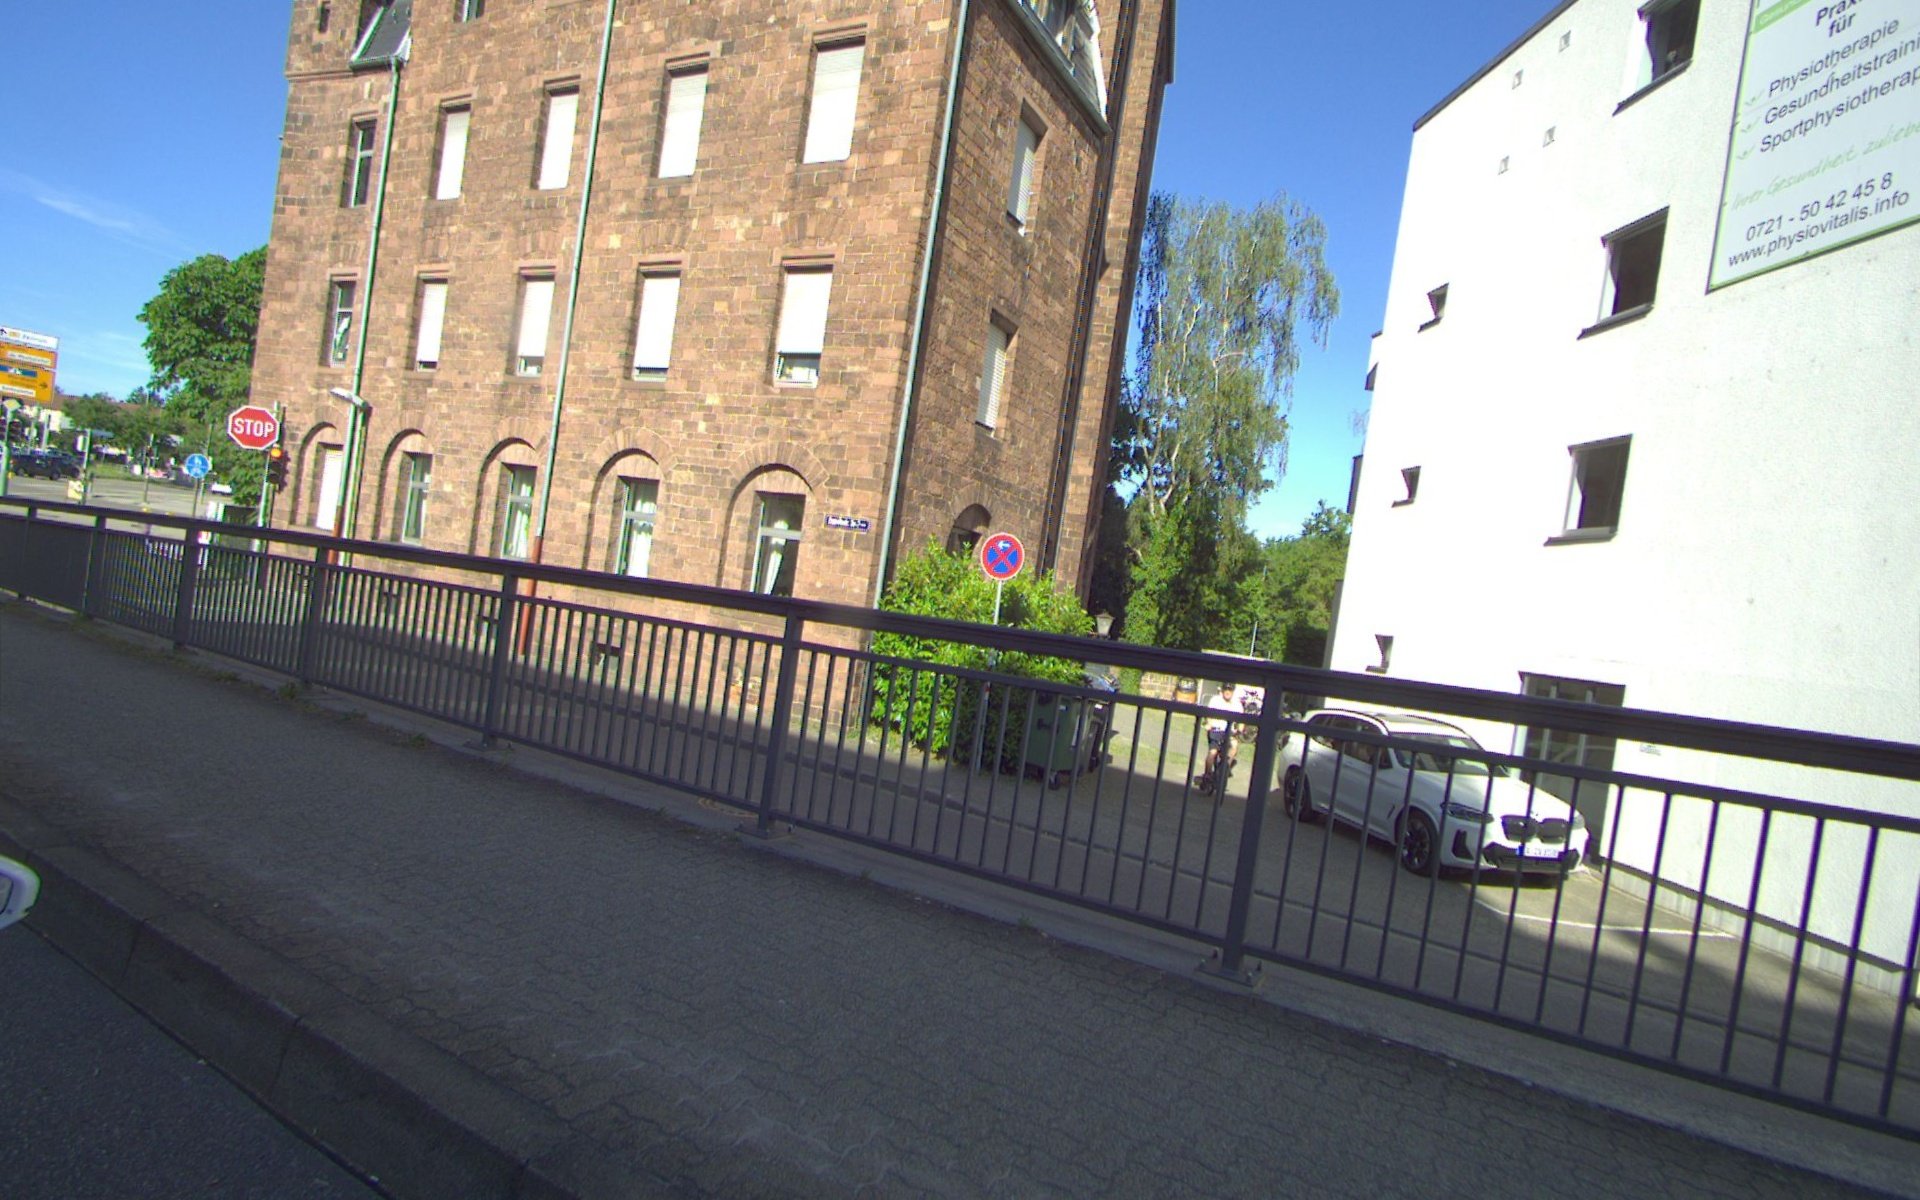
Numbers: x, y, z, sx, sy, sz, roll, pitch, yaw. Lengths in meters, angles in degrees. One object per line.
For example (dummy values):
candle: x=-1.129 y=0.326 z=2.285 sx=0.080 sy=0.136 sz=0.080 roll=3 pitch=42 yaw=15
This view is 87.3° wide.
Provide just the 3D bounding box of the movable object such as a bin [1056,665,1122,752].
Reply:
movable object such as a bin: x=2.638 y=2.182 z=20.463 sx=1.009 sy=1.539 sz=1.007 roll=9 pitch=0 yaw=14

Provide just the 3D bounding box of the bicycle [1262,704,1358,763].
bicycle: x=8.121 y=3.093 z=23.370 sx=1.889 sy=1.065 sz=0.664 roll=8 pitch=1 yaw=-6

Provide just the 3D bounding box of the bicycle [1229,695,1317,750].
bicycle: x=7.861 y=3.082 z=25.285 sx=1.889 sy=1.065 sz=0.664 roll=8 pitch=1 yaw=-6

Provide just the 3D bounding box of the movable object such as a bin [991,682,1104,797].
movable object such as a bin: x=1.185 y=1.850 z=13.524 sx=1.011 sy=1.307 sz=1.005 roll=10 pitch=0 yaw=29

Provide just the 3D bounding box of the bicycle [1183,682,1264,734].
bicycle: x=7.656 y=3.135 z=29.271 sx=2.075 sy=1.174 sz=0.664 roll=8 pitch=1 yaw=-9

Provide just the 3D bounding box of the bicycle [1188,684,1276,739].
bicycle: x=7.398 y=3.026 z=27.386 sx=2.075 sy=1.174 sz=0.664 roll=8 pitch=1 yaw=-9

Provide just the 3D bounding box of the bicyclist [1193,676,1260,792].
bicyclist: x=4.071 y=2.030 z=15.411 sx=0.675 sy=1.627 sz=0.697 roll=9 pitch=0 yaw=9

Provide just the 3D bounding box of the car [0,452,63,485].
car: x=-61.578 y=-8.672 z=66.123 sx=1.713 sy=1.515 sz=3.998 roll=7 pitch=-1 yaw=-5

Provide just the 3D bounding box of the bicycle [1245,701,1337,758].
bicycle: x=7.966 y=3.113 z=24.258 sx=1.889 sy=1.065 sz=0.664 roll=8 pitch=1 yaw=-6

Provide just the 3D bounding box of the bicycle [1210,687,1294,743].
bicycle: x=7.660 y=3.024 z=26.453 sx=1.889 sy=1.174 sz=0.664 roll=8 pitch=1 yaw=-6

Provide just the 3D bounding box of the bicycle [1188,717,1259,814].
bicycle: x=3.997 y=2.490 z=15.412 sx=0.677 sy=1.154 sz=1.840 roll=9 pitch=-1 yaw=8

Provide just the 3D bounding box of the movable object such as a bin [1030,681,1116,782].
movable object such as a bin: x=1.753 y=1.998 z=15.486 sx=1.009 sy=1.307 sz=1.007 roll=10 pitch=0 yaw=14

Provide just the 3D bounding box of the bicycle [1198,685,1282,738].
bicycle: x=7.900 y=3.134 z=28.418 sx=2.075 sy=1.174 sz=0.664 roll=8 pitch=1 yaw=-9

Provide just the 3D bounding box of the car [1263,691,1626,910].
car: x=5.961 y=2.403 z=13.155 sx=1.814 sy=1.707 sz=4.521 roll=8 pitch=0 yaw=-9

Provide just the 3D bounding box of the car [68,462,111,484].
car: x=-85.500 y=-12.492 z=98.880 sx=1.860 sy=1.598 sz=3.978 roll=8 pitch=1 yaw=-22

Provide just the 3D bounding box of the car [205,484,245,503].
car: x=-70.990 y=-10.233 z=97.200 sx=1.974 sy=1.382 sz=4.289 roll=8 pitch=2 yaw=-22

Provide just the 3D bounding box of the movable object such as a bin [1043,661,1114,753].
movable object such as a bin: x=2.278 y=2.016 z=19.274 sx=1.009 sy=1.539 sz=1.007 roll=9 pitch=0 yaw=14

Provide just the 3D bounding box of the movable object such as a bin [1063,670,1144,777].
movable object such as a bin: x=2.394 y=2.015 z=16.668 sx=1.009 sy=1.539 sz=1.007 roll=9 pitch=0 yaw=14

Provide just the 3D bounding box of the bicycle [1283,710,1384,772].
bicycle: x=8.326 y=3.138 z=22.456 sx=1.889 sy=1.065 sz=0.664 roll=8 pitch=1 yaw=-6
